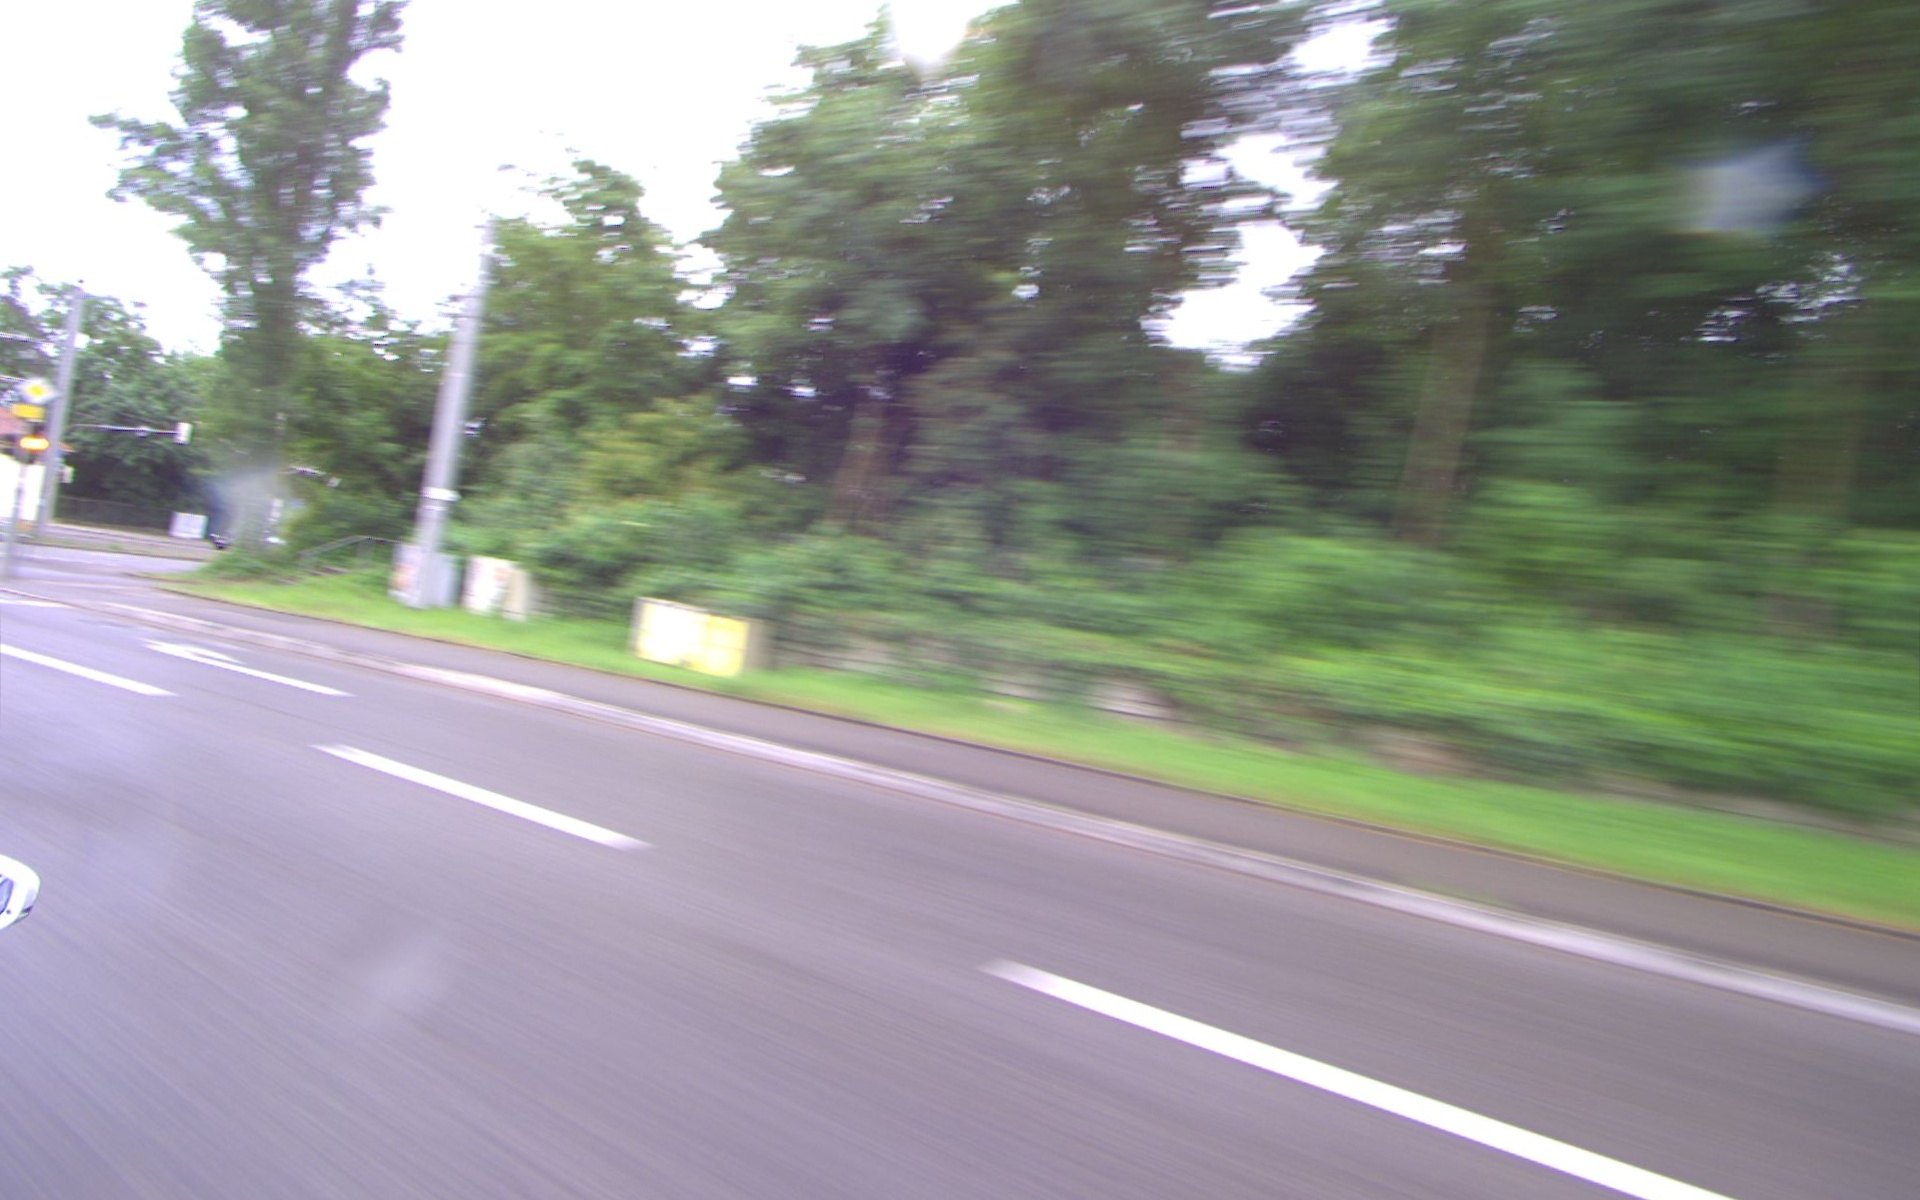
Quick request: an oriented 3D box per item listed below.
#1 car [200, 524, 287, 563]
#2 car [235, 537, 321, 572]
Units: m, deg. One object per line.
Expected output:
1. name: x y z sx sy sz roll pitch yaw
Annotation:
1. car: -44.020 -3.424 61.946 1.962 1.754 4.268 6 -2 4
2. car: -41.503 -2.750 61.343 1.962 1.472 4.268 6 -3 4
